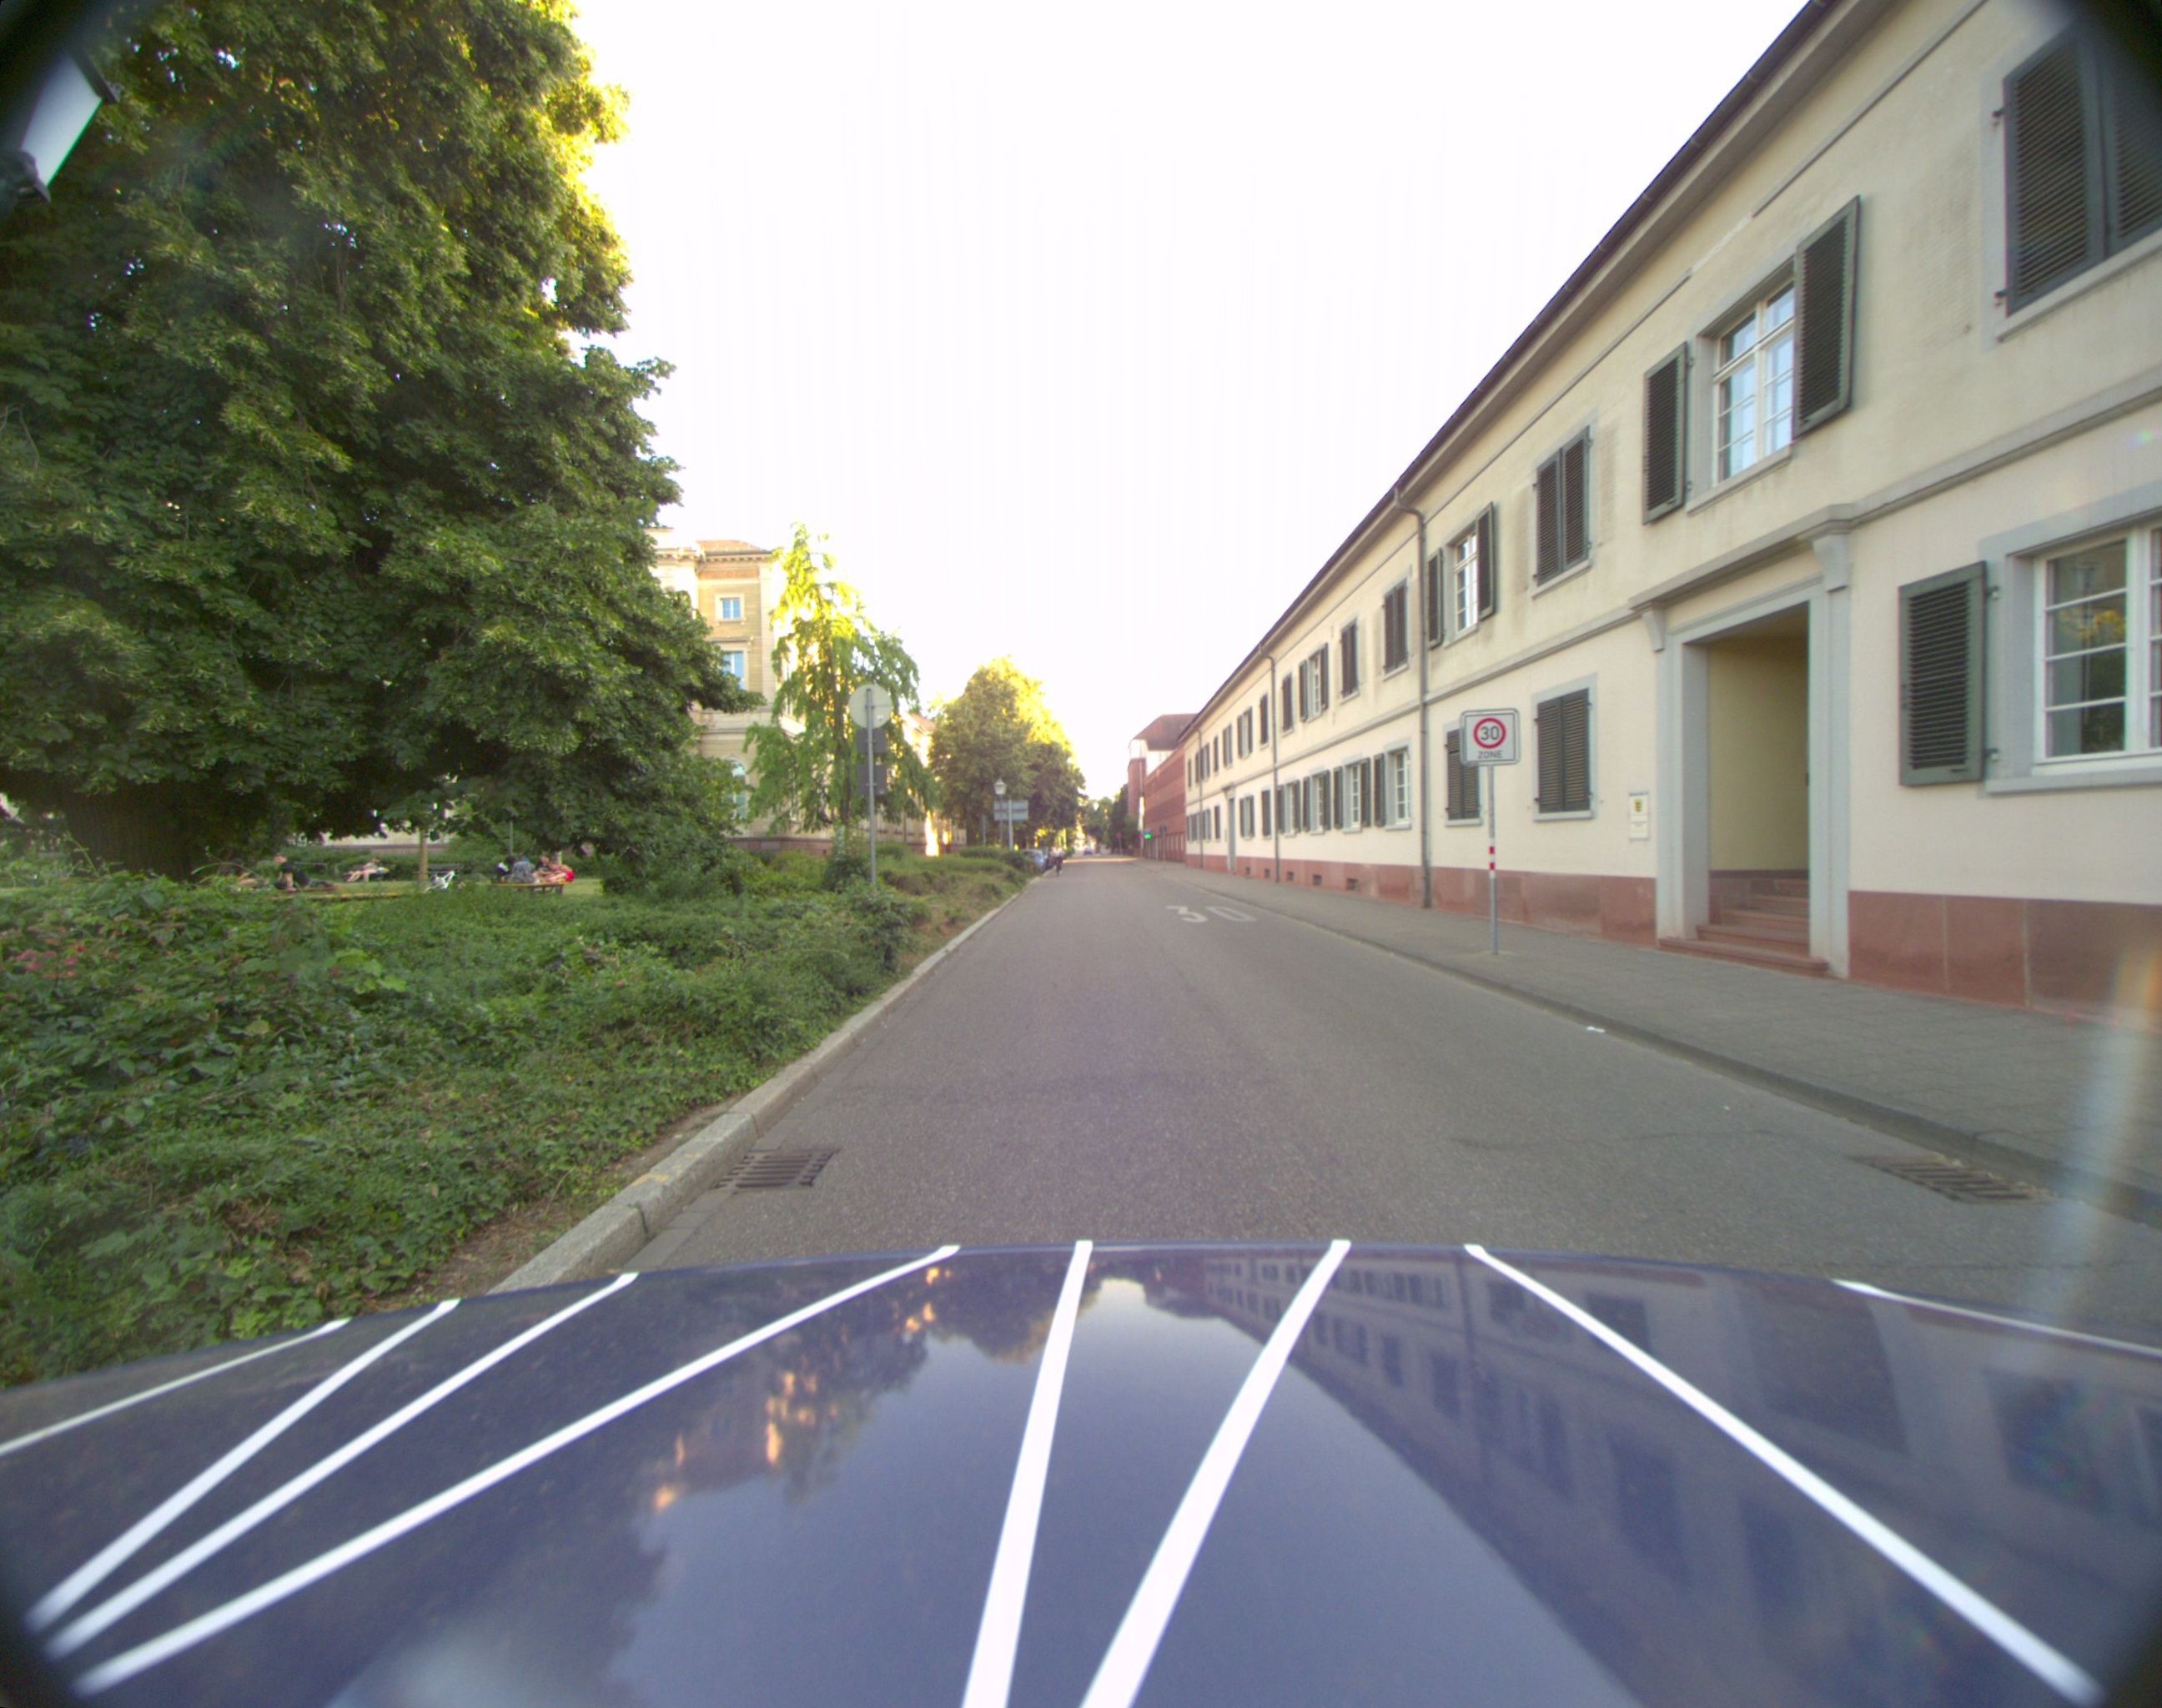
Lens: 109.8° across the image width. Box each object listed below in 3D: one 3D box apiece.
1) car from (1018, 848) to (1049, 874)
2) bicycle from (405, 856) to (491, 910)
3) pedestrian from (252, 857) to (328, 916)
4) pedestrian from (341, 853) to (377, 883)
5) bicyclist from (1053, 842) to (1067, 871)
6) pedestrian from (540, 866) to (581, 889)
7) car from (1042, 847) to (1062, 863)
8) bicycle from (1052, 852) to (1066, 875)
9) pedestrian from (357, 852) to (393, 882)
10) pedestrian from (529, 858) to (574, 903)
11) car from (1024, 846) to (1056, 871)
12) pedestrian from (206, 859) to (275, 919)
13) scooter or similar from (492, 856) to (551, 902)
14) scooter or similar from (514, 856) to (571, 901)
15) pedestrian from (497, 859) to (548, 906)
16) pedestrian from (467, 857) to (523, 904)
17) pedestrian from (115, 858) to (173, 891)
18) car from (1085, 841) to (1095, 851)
[{"bbox_3d":[-2.981,0.411,48.309,1.728,1.480,4.609,3,1,-1],"label":"car"},{"bbox_3d":[-16.367,0.712,19.707,0.621,1.292,2.018,0,1,-4],"label":"bicycle"},{"bbox_3d":[-19.014,0.761,18.295,0.920,1.339,0.883,-1,1,-15],"label":"pedestrian"},{"bbox_3d":[-34.749,0.652,36.599,0.695,1.389,1.044,0,1,1],"label":"pedestrian"},{"bbox_3d":[-1.192,0.125,42.294,0.753,1.603,1.038,0,1,-2],"label":"bicyclist"},{"bbox_3d":[-13.959,0.619,20.410,0.542,0.546,1.375,2,0,-19],"label":"pedestrian"},{"bbox_3d":[-2.874,0.073,76.466,1.739,1.498,4.521,3,1,0],"label":"car"},{"bbox_3d":[-1.213,0.509,42.280,0.753,1.245,2.209,0,0,-2],"label":"bicycle"},{"bbox_3d":[-33.866,0.619,36.456,0.695,1.389,1.044,0,1,1],"label":"pedestrian"},{"bbox_3d":[-14.626,0.711,20.993,0.663,1.185,0.796,0,2,28],"label":"pedestrian"},{"bbox_3d":[-2.862,0.256,54.055,1.728,1.642,4.713,0,1,3],"label":"car"},{"bbox_3d":[-19.823,0.807,17.936,0.762,1.339,0.786,-1,1,-16],"label":"pedestrian"},{"bbox_3d":[-15.442,0.682,20.980,1.221,1.238,0.417,-1,2,-16],"label":"scooter or similar"},{"bbox_3d":[-15.280,0.676,21.580,1.221,1.238,0.418,-1,1,-12],"label":"scooter or similar"},{"bbox_3d":[-14.427,0.722,19.629,0.724,1.185,0.747,0,1,3],"label":"pedestrian"},{"bbox_3d":[-15.205,0.678,19.746,0.808,1.185,0.789,0,1,3],"label":"pedestrian"},{"bbox_3d":[-44.966,0.975,36.502,0.802,1.547,1.567,0,1,1],"label":"pedestrian"},{"bbox_3d":[2.066,-1.748,169.167,1.999,1.863,5.109,-1,-1,-1],"label":"car"}]
